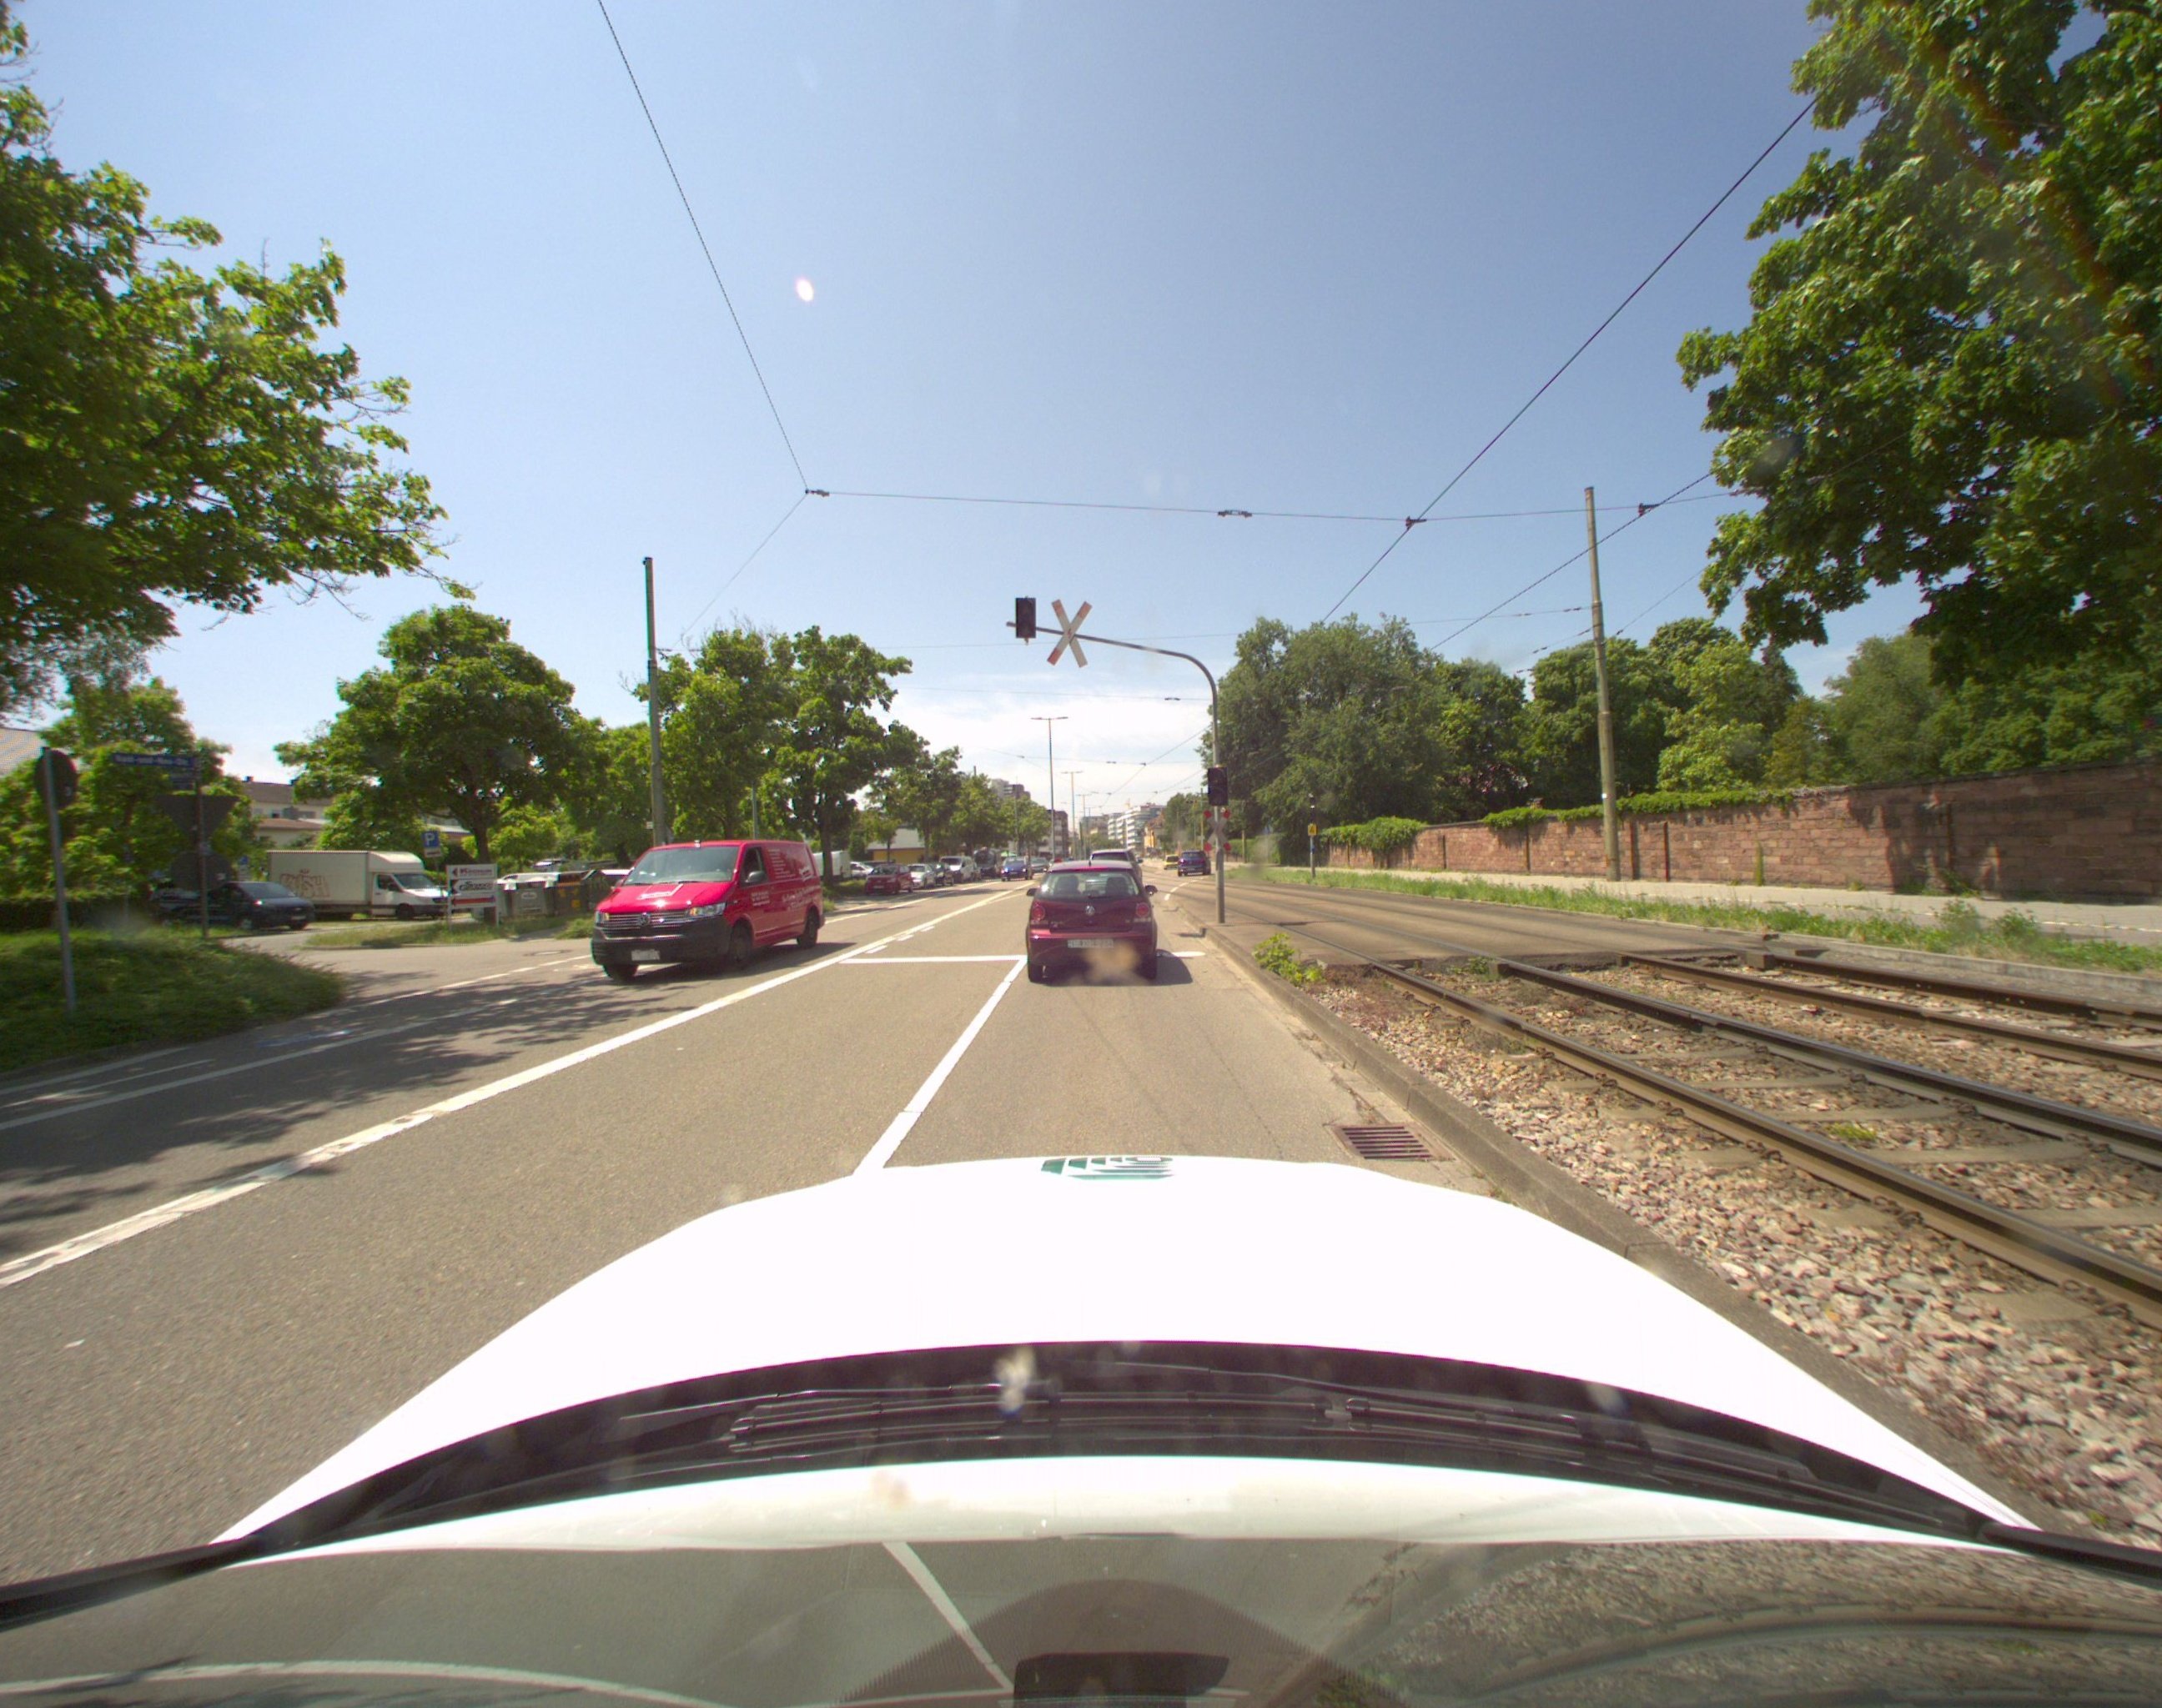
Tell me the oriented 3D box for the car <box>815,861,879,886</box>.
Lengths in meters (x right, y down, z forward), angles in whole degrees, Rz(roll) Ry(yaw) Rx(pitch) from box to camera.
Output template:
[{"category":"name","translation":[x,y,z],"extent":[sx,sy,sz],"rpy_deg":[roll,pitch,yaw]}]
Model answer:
[{"category":"car","translation":[-19.387,1.573,67.642],"extent":[4.703,1.813,1.796],"rpy_deg":[-3,0,-1]}]

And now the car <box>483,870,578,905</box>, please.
[{"category":"car","translation":[-31.796,1.894,47.113],"extent":[4.113,1.820,1.971],"rpy_deg":[-2,-1,0]}]

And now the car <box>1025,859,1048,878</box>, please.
[{"category":"car","translation":[-4.023,1.325,74.232],"extent":[1.731,1.575,3.714],"rpy_deg":[-3,0,1]}]

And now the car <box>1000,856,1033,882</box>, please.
[{"category":"car","translation":[-4.399,0.994,56.044],"extent":[1.731,1.656,4.068],"rpy_deg":[-3,0,1]}]

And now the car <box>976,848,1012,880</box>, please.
[{"category":"car","translation":[-7.810,0.877,73.609],"extent":[2.389,2.656,6.175],"rpy_deg":[1,0,2]}]

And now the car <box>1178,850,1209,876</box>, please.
[{"category":"car","translation":[7.343,0.568,52.913],"extent":[1.762,1.630,4.013],"rpy_deg":[-1,0,11]}]

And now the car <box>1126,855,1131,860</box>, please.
[{"category":"car","translation":[12.563,1.038,214.391],"extent":[1.348,1.252,2.973],"rpy_deg":[-1,0,2]}]

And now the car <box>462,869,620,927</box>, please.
[{"category":"car","translation":[-20.230,1.615,30.664],"extent":[4.437,1.857,2.059],"rpy_deg":[-3,0,-3]}]

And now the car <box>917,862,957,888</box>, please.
[{"category":"car","translation":[-9.090,1.313,51.814],"extent":[1.607,1.484,3.788],"rpy_deg":[1,0,4]}]

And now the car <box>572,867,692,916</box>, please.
[{"category":"car","translation":[-19.490,1.605,35.427],"extent":[4.248,1.835,1.675],"rpy_deg":[-3,0,3]}]

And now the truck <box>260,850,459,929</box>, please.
[{"category":"truck","translation":[-32.532,1.549,36.868],"extent":[6.955,3.227,2.150],"rpy_deg":[-2,0,-1]}]

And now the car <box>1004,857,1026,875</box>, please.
[{"category":"car","translation":[-7.513,1.305,92.956],"extent":[1.868,1.965,5.166],"rpy_deg":[1,0,2]}]

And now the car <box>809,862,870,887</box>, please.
[{"category":"car","translation":[-19.274,1.588,65.064],"extent":[4.196,1.765,1.856],"rpy_deg":[-3,0,0]}]

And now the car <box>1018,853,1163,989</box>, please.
[{"category":"car","translation":[0.203,0.790,11.483],"extent":[1.603,1.498,4.002],"rpy_deg":[-3,0,2]}]

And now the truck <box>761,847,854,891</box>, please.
[{"category":"truck","translation":[-19.103,1.041,57.142],"extent":[5.556,2.759,2.433],"rpy_deg":[-3,0,2]}]

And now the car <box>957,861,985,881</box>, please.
[{"category":"car","translation":[-8.353,1.292,62.098],"extent":[1.400,1.440,3.841],"rpy_deg":[1,0,2]}]

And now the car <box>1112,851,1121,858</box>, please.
[{"category":"car","translation":[9.670,0.152,223.195],"extent":[1.914,1.910,4.565],"rpy_deg":[-3,0,-3]}]

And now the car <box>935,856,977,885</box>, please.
[{"category":"car","translation":[-8.740,1.105,57.209],"extent":[1.854,1.937,4.810],"rpy_deg":[1,0,4]}]

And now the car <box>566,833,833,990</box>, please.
[{"category":"car","translation":[-5.702,0.750,13.016],"extent":[1.893,1.926,4.819],"rpy_deg":[-3,0,0]}]

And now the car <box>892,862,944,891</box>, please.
[{"category":"car","translation":[-9.325,1.260,46.873],"extent":[1.711,1.427,4.775],"rpy_deg":[-3,0,3]}]

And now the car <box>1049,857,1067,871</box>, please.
[{"category":"car","translation":[-2.594,1.134,91.790],"extent":[1.642,1.376,3.812],"rpy_deg":[-4,-1,2]}]

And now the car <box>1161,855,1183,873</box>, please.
[{"category":"car","translation":[8.897,0.993,80.040],"extent":[1.788,1.683,4.002],"rpy_deg":[-1,0,2]}]

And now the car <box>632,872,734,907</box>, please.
[{"category":"car","translation":[-20.004,1.770,40.997],"extent":[4.104,1.508,1.934],"rpy_deg":[-3,0,3]}]

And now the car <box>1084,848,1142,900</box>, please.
[{"category":"car","translation":[1.221,0.661,29.186],"extent":[1.786,1.683,4.007],"rpy_deg":[-1,0,6]}]

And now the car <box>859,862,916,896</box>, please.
[{"category":"car","translation":[-9.420,1.195,39.925],"extent":[1.664,1.546,3.730],"rpy_deg":[-1,-1,4]}]

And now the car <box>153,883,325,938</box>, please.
[{"category":"car","translation":[-32.199,2.138,31.224],"extent":[4.687,1.820,1.942],"rpy_deg":[-2,0,3]}]

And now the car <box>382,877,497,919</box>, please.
[{"category":"car","translation":[-30.768,2.098,39.127],"extent":[4.113,1.820,1.647],"rpy_deg":[-2,0,0]}]
